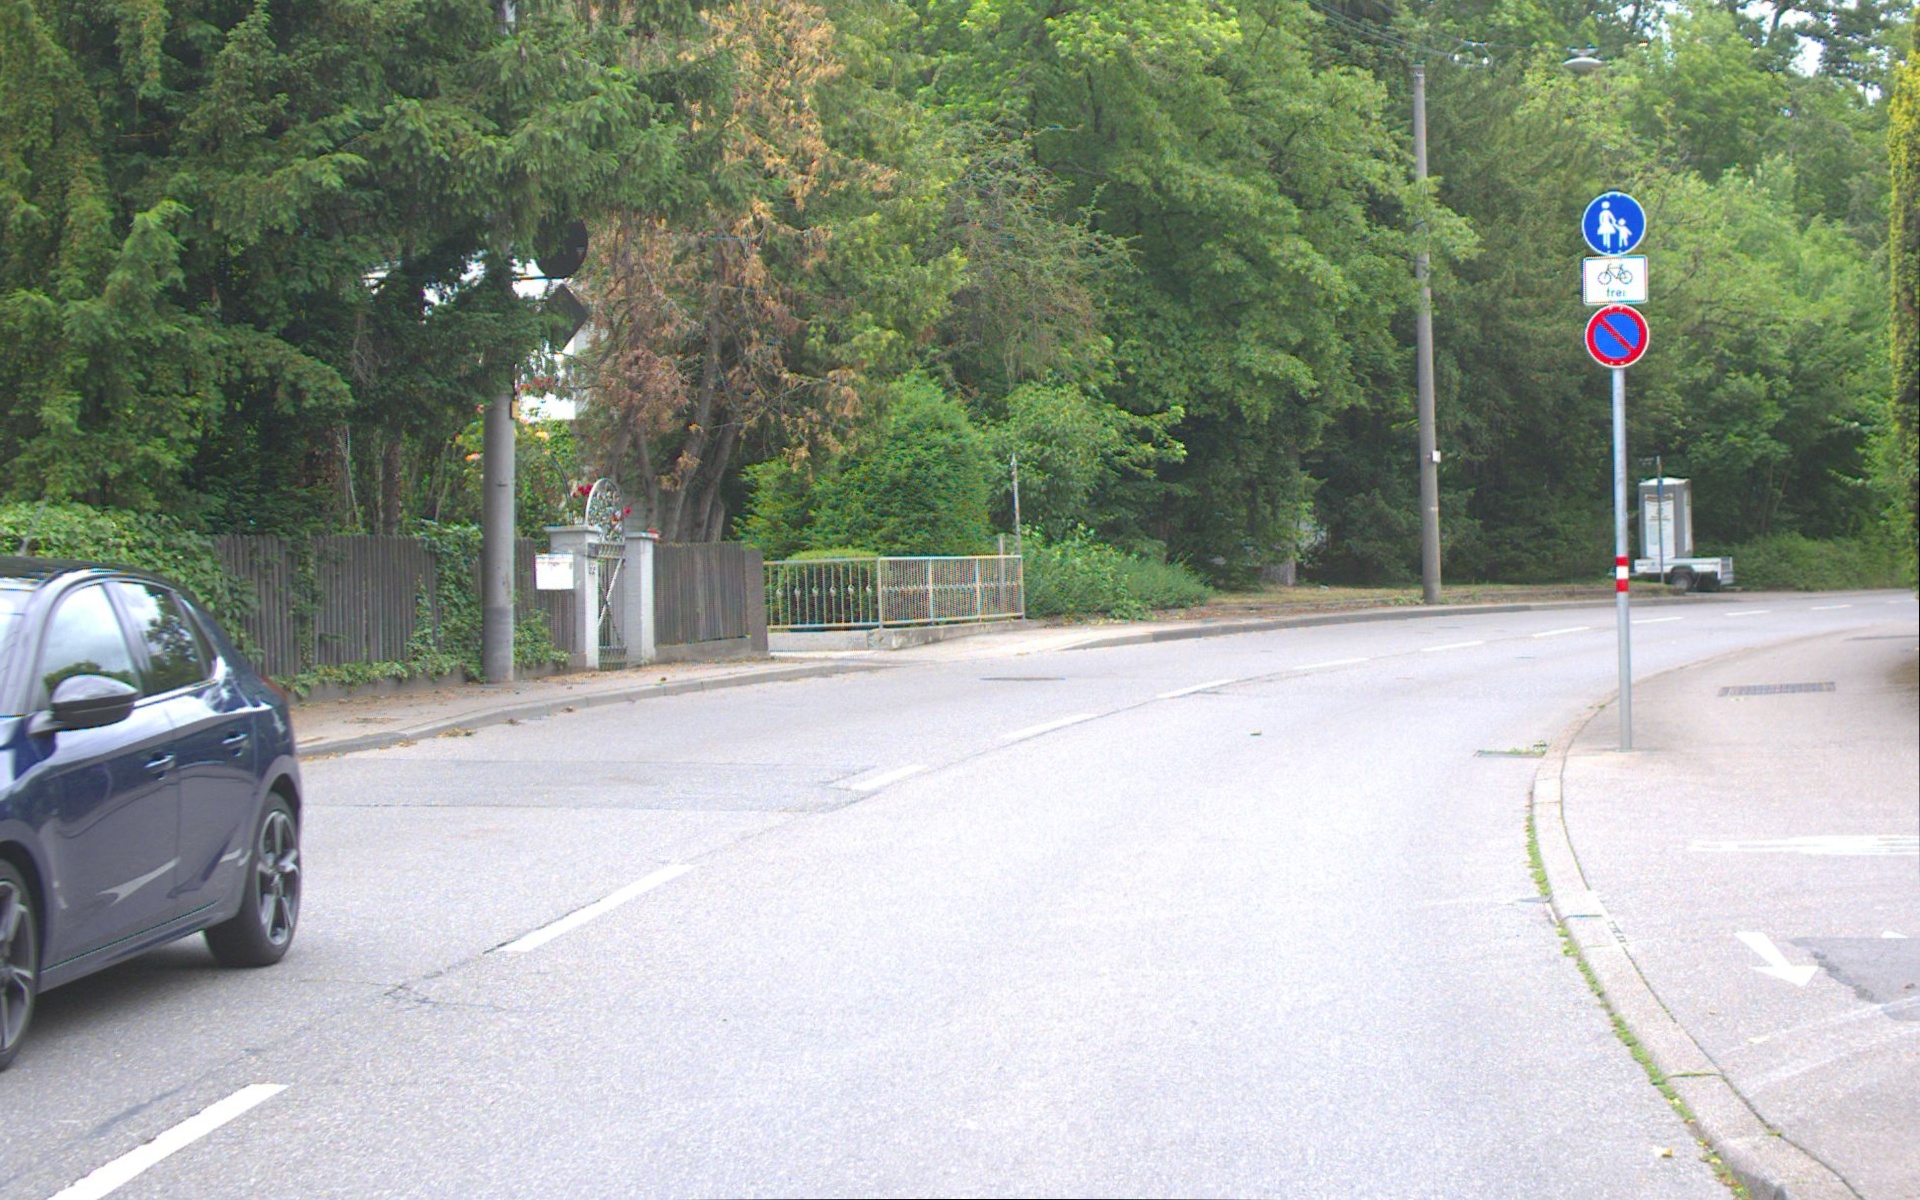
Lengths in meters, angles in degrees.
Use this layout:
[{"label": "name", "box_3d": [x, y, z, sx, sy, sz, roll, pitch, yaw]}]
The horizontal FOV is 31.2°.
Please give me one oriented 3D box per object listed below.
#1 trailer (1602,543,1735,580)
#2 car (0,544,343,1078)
[{"label": "trailer", "box_3d": [17.053, -0.920, 82.733, 2.957, 0.826, 1.474, -1, 0, 19]}, {"label": "car", "box_3d": [-3.369, 0.562, 10.796, 1.757, 1.434, 4.093, 0, 1, 6]}]
